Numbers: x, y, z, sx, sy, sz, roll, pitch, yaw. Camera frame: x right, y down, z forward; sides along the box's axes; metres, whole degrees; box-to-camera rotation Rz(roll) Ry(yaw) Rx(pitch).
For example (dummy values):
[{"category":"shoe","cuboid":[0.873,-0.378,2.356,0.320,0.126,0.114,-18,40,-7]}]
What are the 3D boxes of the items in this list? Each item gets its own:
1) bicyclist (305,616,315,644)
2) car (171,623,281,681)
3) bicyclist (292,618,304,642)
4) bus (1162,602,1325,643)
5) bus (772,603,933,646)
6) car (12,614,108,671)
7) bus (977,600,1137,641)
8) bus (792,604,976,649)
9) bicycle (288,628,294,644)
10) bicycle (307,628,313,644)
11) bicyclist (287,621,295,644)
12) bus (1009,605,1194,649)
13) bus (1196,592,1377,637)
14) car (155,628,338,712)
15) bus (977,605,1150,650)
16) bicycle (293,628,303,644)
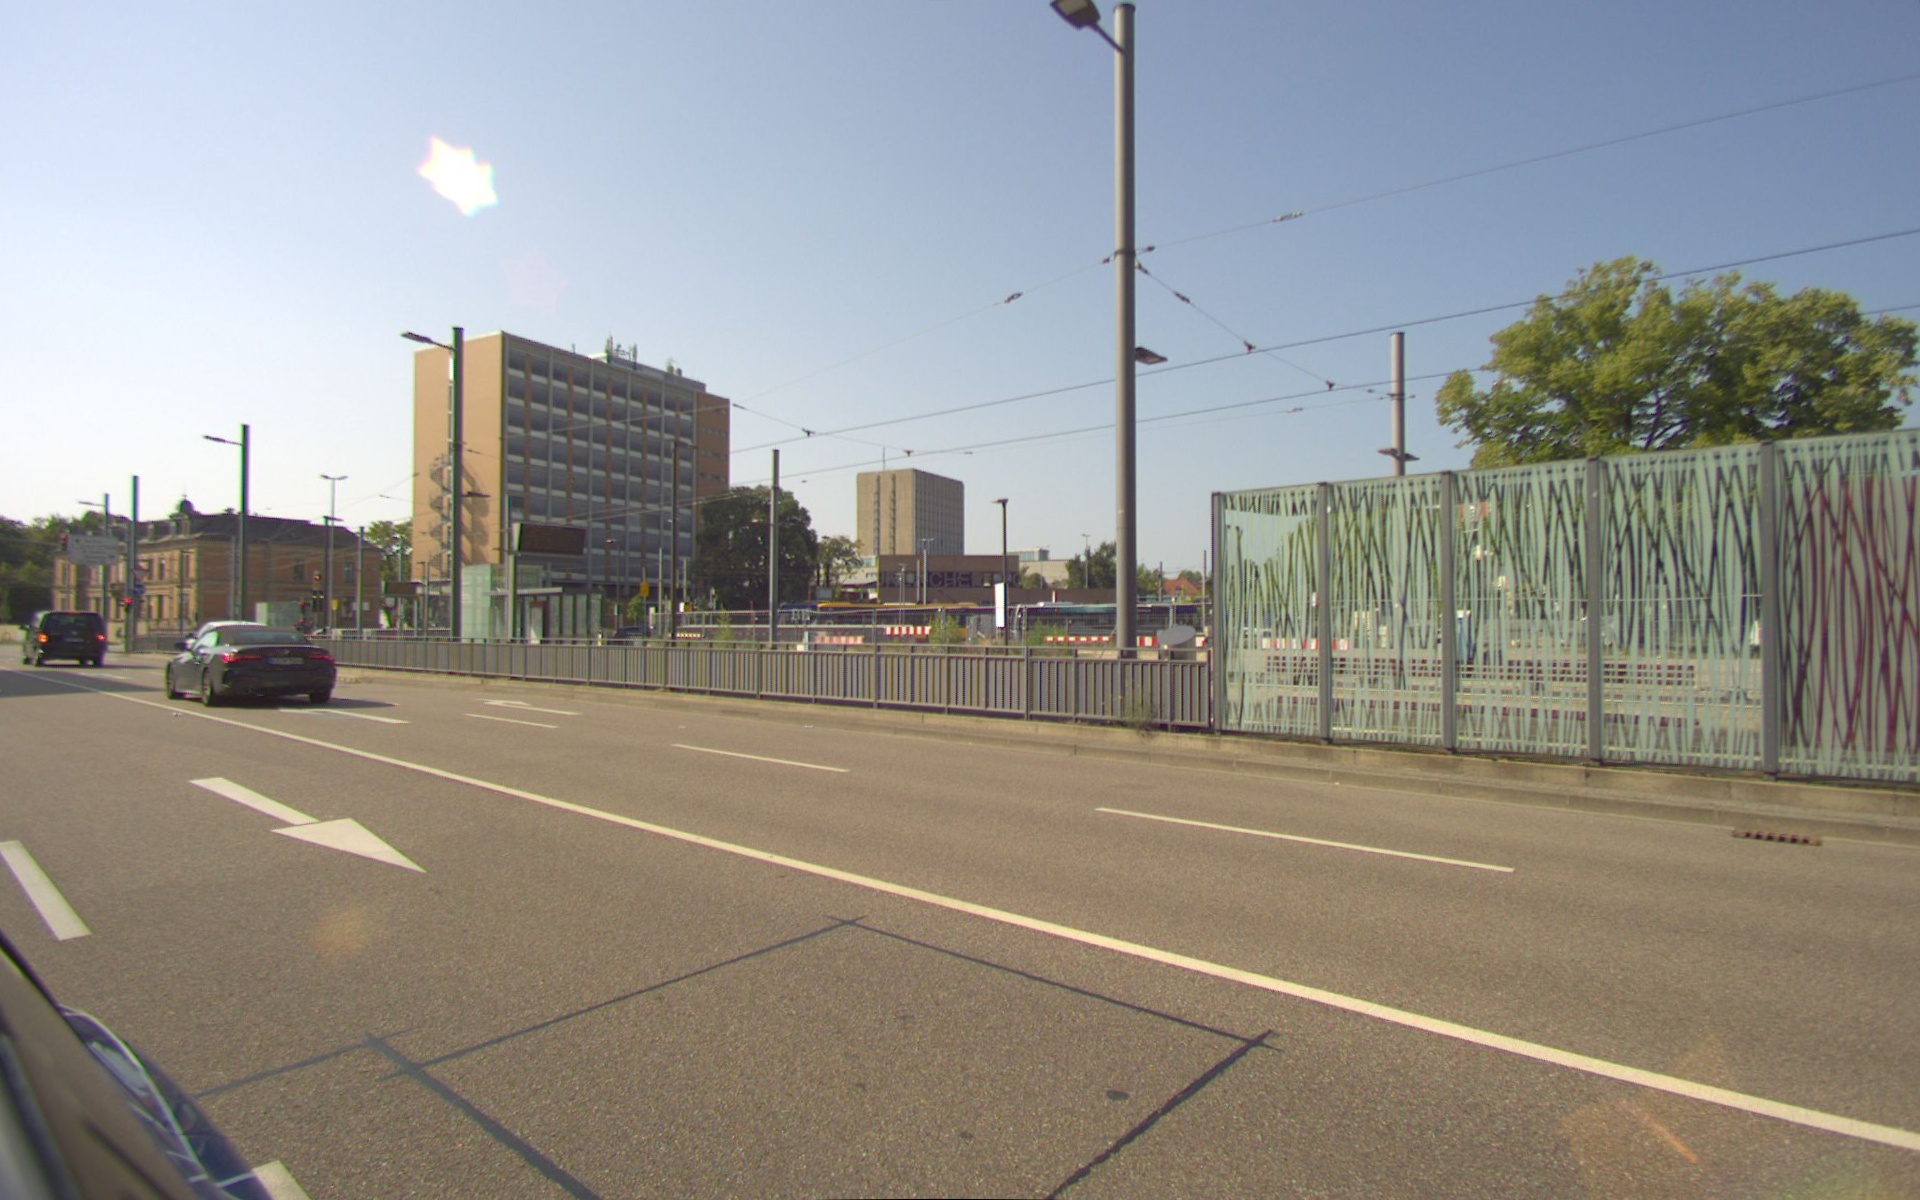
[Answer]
[{"category":"bicyclist","cuboid":[-46.581,2.165,72.565,0.571,1.989,0.810,1,-3,-34]},{"category":"car","cuboid":[-21.940,1.527,30.191,4.503,1.624,1.695,-2,-4,42]},{"category":"bicyclist","cuboid":[-45.587,2.057,69.677,0.579,1.669,0.792,2,-3,-37]},{"category":"bus","cuboid":[24.381,1.942,87.364,13.114,3.445,3.228,0,-2,-4]},{"category":"bus","cuboid":[-8.922,2.064,84.616,13.114,3.445,3.228,0,-2,-4]},{"category":"car","cuboid":[-32.436,1.516,36.429,4.714,1.919,1.972,-2,-4,42]},{"category":"bus","cuboid":[8.128,1.755,86.035,13.114,3.445,3.228,0,-2,-4]},{"category":"bus","cuboid":[-5.560,1.951,73.919,13.113,3.203,3.228,0,-2,-5]},{"category":"bicycle","cuboid":[-47.334,2.552,71.626,0.306,1.174,1.503,1,-3,-33]},{"category":"bicycle","cuboid":[-46.634,2.585,72.604,0.371,1.174,1.864,1,-3,-33]},{"category":"bicyclist","cuboid":[-47.323,2.316,71.584,0.503,1.642,0.810,1,-3,-34]},{"category":"bus","cuboid":[10.419,2.031,75.282,13.114,3.203,3.228,0,-2,-5]},{"category":"bus","cuboid":[25.276,1.180,78.663,13.114,3.445,3.228,0,-2,-4]},{"category":"car","cuboid":[-13.008,1.197,18.351,4.519,1.341,1.695,-2,-4,42]},{"category":"bus","cuboid":[8.046,2.148,79.827,13.114,3.445,3.228,0,-2,-4]},{"category":"bicycle","cuboid":[-45.602,2.486,69.694,0.396,1.118,1.750,2,-2,-38]}]
